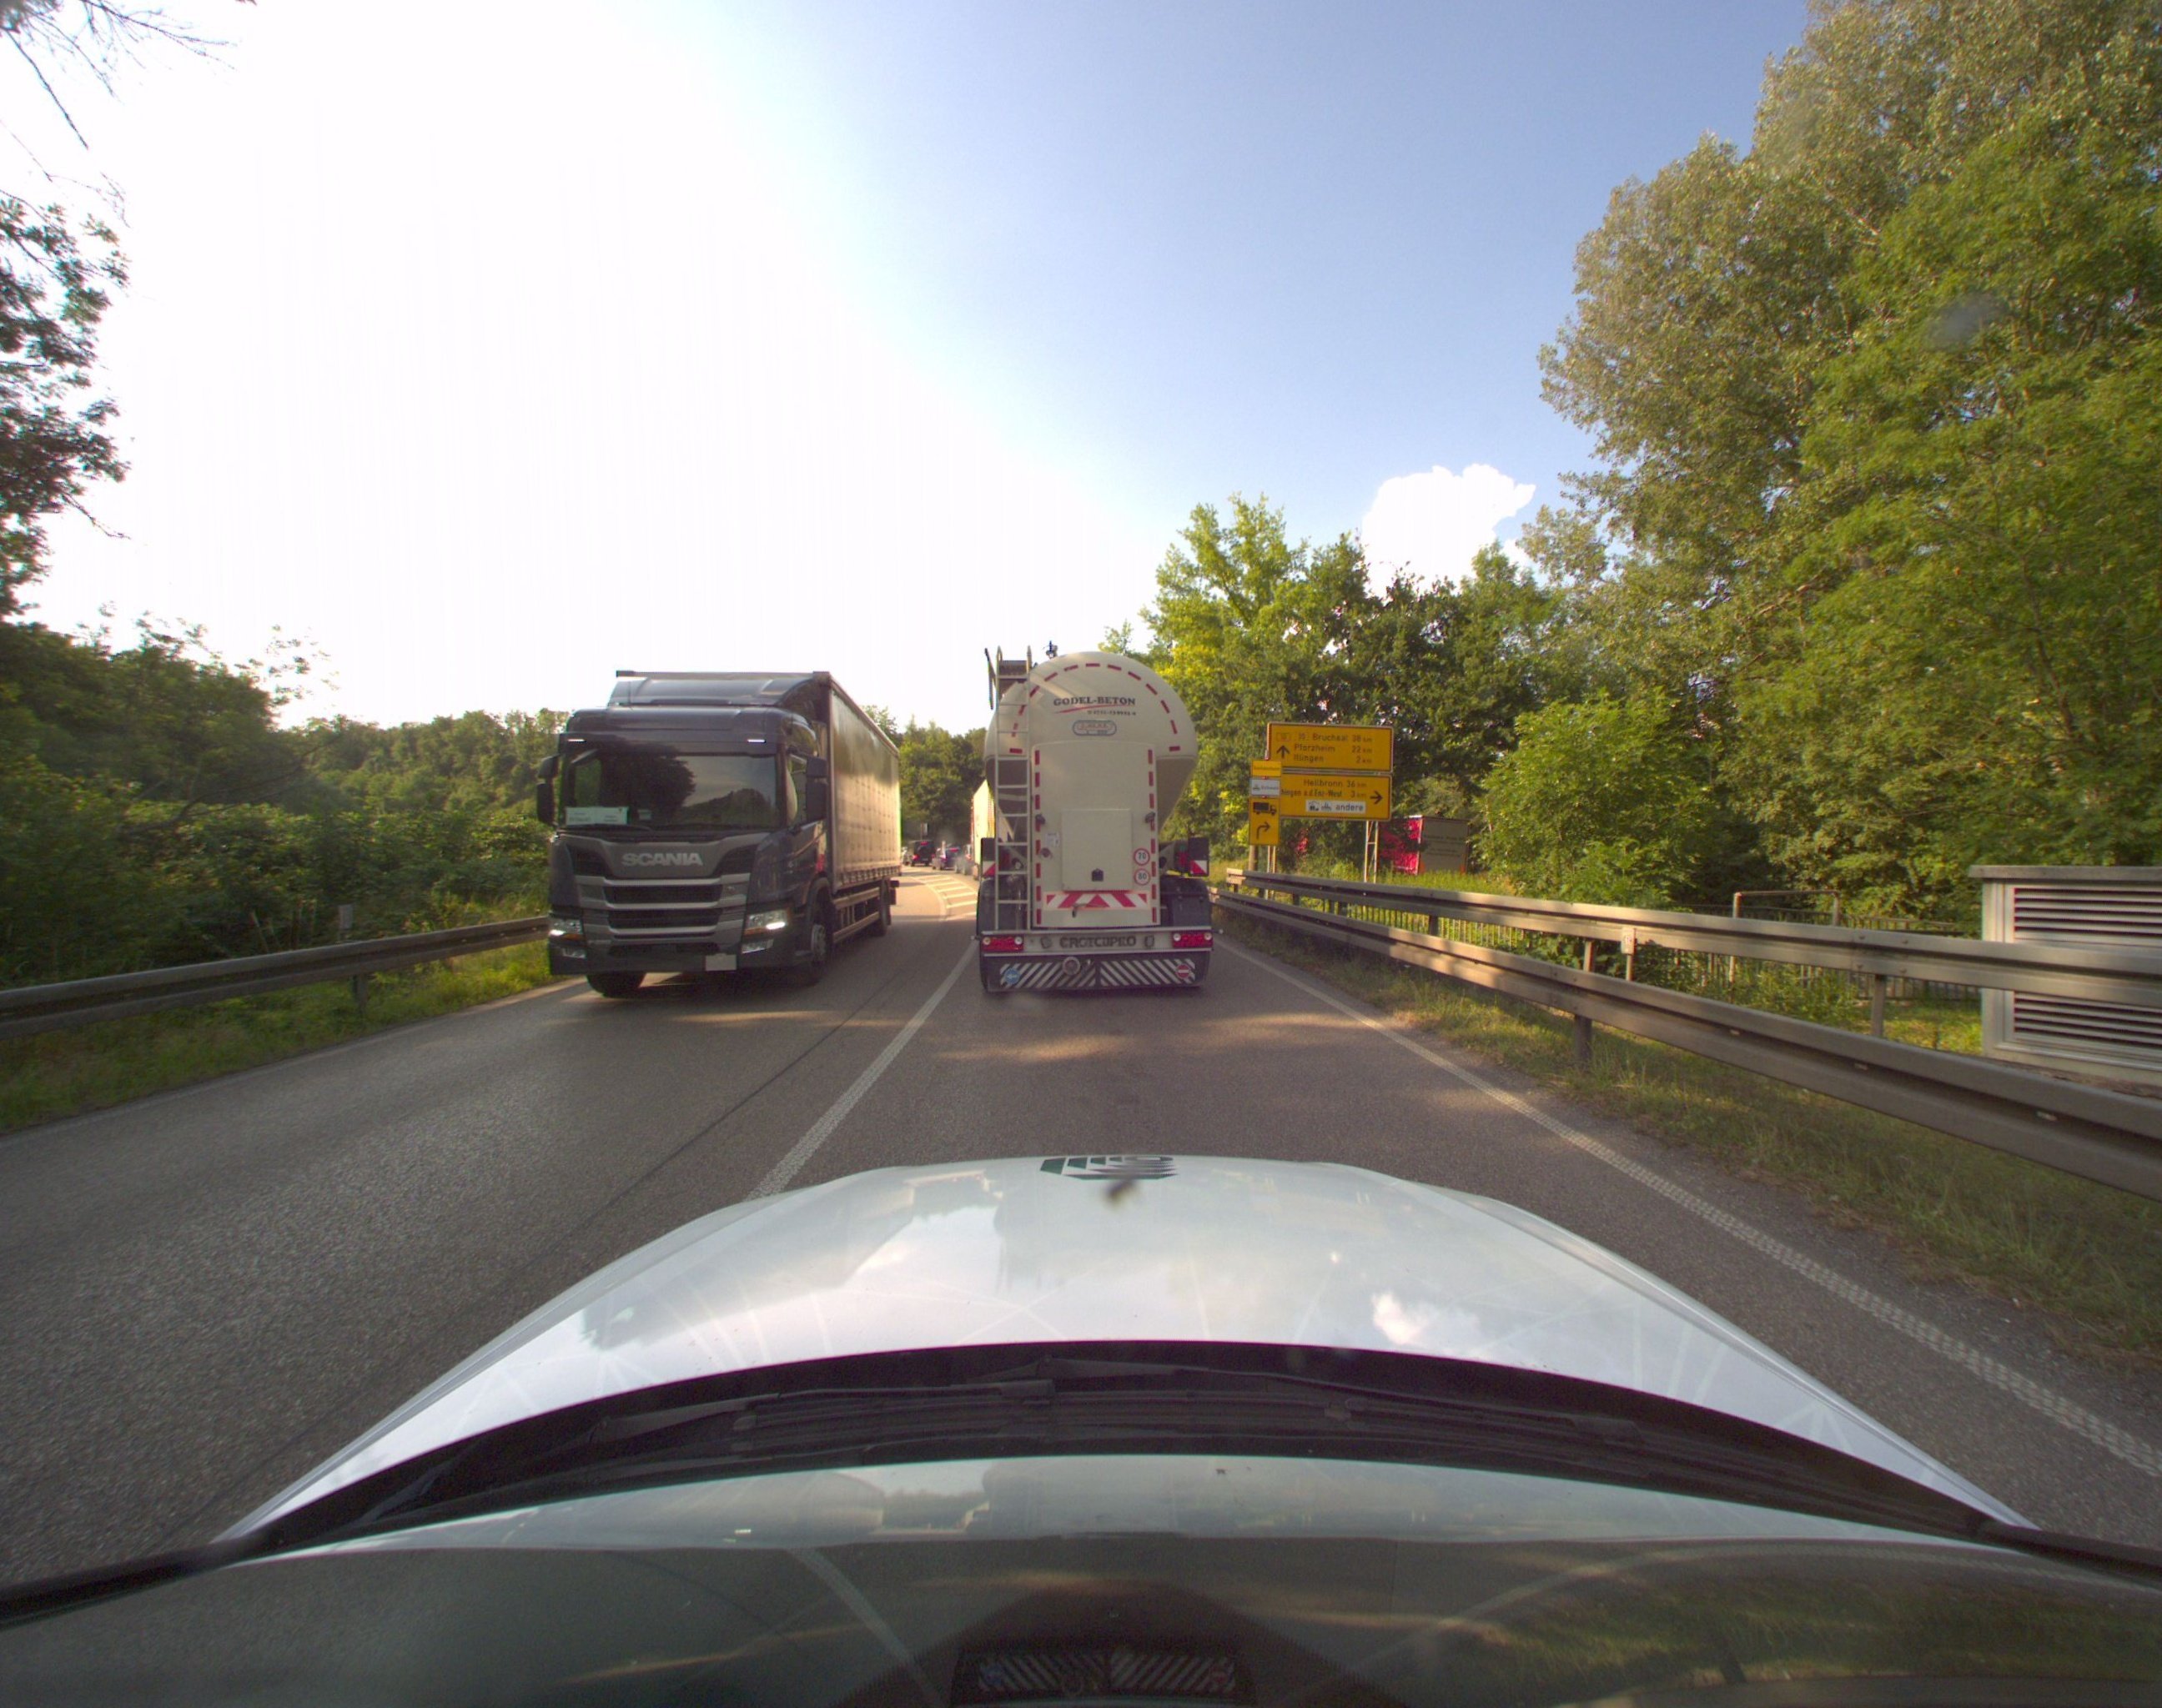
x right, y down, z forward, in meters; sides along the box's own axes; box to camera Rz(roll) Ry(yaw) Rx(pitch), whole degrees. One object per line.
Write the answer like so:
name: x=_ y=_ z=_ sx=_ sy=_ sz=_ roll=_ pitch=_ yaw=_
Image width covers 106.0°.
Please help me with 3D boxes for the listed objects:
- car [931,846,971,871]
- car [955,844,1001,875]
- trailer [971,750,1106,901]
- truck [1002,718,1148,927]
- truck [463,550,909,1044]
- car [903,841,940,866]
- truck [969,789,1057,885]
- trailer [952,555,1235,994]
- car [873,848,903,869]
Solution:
car: x=-8.649 y=0.292 z=54.050 sx=1.874 sy=1.564 sz=3.973 roll=-2 pitch=1 yaw=-20
car: x=-5.893 y=0.293 z=46.189 sx=1.873 sy=1.628 sz=3.976 roll=-2 pitch=1 yaw=-18
trailer: x=-2.116 y=-0.824 z=31.137 sx=3.546 sy=4.513 sz=12.938 roll=1 pitch=0 yaw=-10
truck: x=-0.346 y=-0.625 z=18.796 sx=2.819 sy=4.035 sz=5.884 roll=0 pitch=0 yaw=-5
truck: x=-4.776 y=-0.515 z=12.823 sx=3.008 sy=4.585 sz=10.218 roll=0 pitch=0 yaw=-6
car: x=-12.367 y=-0.045 z=62.912 sx=1.966 sy=1.851 sz=3.968 roll=-2 pitch=1 yaw=-24
truck: x=-3.319 y=-0.767 z=37.951 sx=3.451 sy=4.086 sz=6.467 roll=0 pitch=1 yaw=-11
trailer: x=-0.038 y=-0.810 z=13.123 sx=2.879 sy=4.454 sz=9.597 roll=0 pitch=0 yaw=-2
car: x=-18.013 y=0.410 z=75.923 sx=1.877 sy=1.851 sz=3.965 roll=2 pitch=0 yaw=-27
